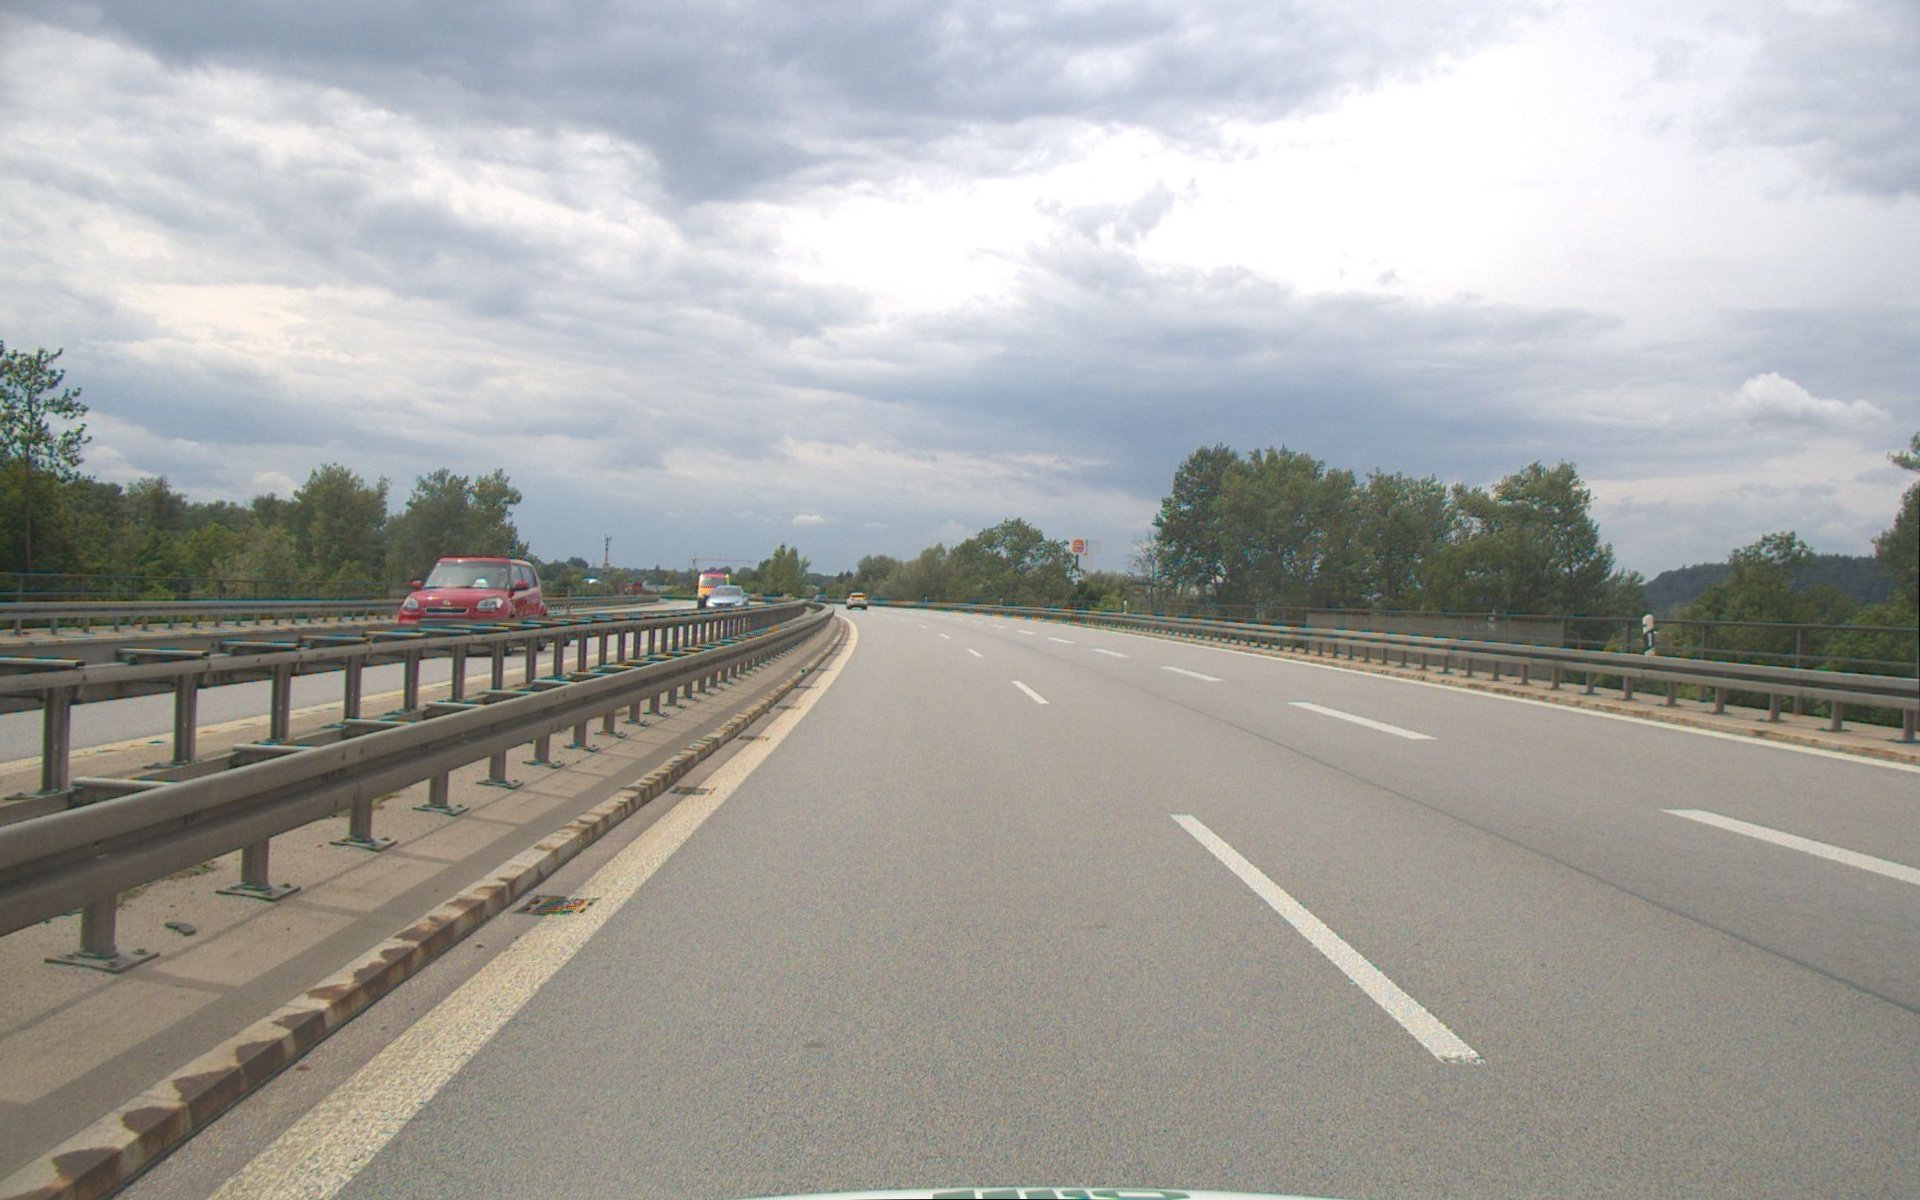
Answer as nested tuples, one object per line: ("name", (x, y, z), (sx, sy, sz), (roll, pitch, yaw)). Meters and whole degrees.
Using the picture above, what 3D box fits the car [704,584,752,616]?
("car", (-10.762, -0.013, 76.899), (1.694, 1.430, 4.248), (2, 0, -2))

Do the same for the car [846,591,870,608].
("car", (-10.449, -0.072, 168.678), (1.869, 1.668, 4.383), (2, 0, -11))

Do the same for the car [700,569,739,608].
("car", (-15.037, -0.701, 103.709), (1.954, 2.333, 6.392), (2, 0, -5))

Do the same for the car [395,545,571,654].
("car", (-8.072, -0.028, 28.423), (1.776, 1.669, 4.567), (2, 0, -2))

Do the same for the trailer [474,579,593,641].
("trailer", (-8.300, 0.182, 32.452), (1.527, 1.144, 3.449), (0, 0, -2))

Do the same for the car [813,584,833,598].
("car", (-17.664, -1.186, 213.176), (1.860, 1.668, 4.607), (2, 0, -13))
